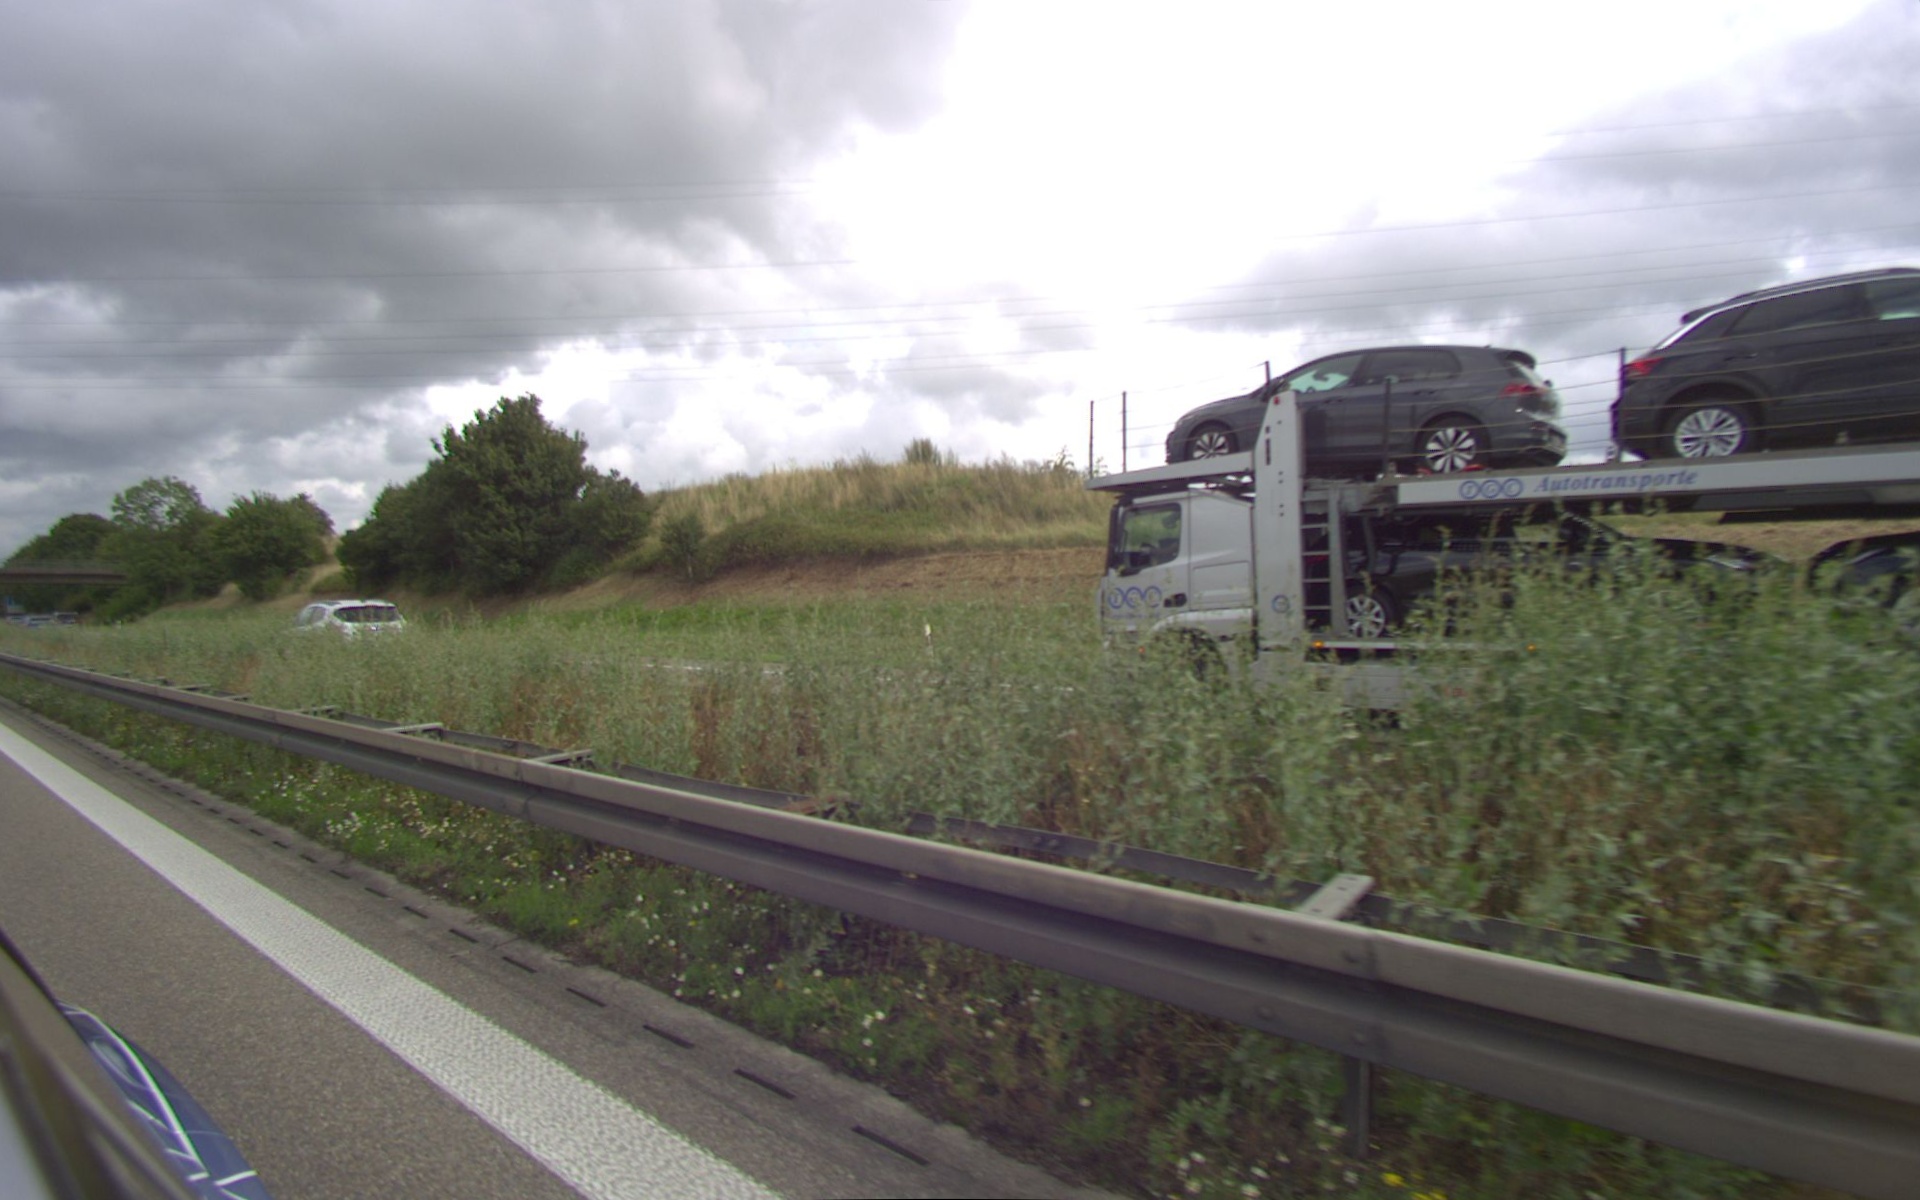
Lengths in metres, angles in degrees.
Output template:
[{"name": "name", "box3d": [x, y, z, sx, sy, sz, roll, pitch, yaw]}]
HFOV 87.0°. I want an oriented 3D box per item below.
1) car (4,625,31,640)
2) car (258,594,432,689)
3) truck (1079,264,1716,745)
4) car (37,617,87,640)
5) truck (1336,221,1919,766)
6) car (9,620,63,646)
[{"name": "car", "box3d": [-101.351, 3.492, 108.801, 3.998, 1.464, 1.728, -1, 0, 42]}, {"name": "car", "box3d": [-13.089, 0.815, 21.452, 3.998, 1.696, 1.973, -1, 3, 41]}, {"name": "truck", "box3d": [4.584, -0.737, 11.330, 5.984, 3.966, 2.694, -1, -1, 42]}, {"name": "car", "box3d": [-66.067, 2.052, 74.421, 5.617, 1.587, 1.909, -1, 0, 40]}, {"name": "truck", "box3d": [11.190, -0.850, 5.429, 17.395, 3.966, 2.694, -1, -1, 42]}, {"name": "car", "box3d": [-55.531, 1.957, 60.800, 4.442, 1.468, 1.972, -1, 0, 42]}]
